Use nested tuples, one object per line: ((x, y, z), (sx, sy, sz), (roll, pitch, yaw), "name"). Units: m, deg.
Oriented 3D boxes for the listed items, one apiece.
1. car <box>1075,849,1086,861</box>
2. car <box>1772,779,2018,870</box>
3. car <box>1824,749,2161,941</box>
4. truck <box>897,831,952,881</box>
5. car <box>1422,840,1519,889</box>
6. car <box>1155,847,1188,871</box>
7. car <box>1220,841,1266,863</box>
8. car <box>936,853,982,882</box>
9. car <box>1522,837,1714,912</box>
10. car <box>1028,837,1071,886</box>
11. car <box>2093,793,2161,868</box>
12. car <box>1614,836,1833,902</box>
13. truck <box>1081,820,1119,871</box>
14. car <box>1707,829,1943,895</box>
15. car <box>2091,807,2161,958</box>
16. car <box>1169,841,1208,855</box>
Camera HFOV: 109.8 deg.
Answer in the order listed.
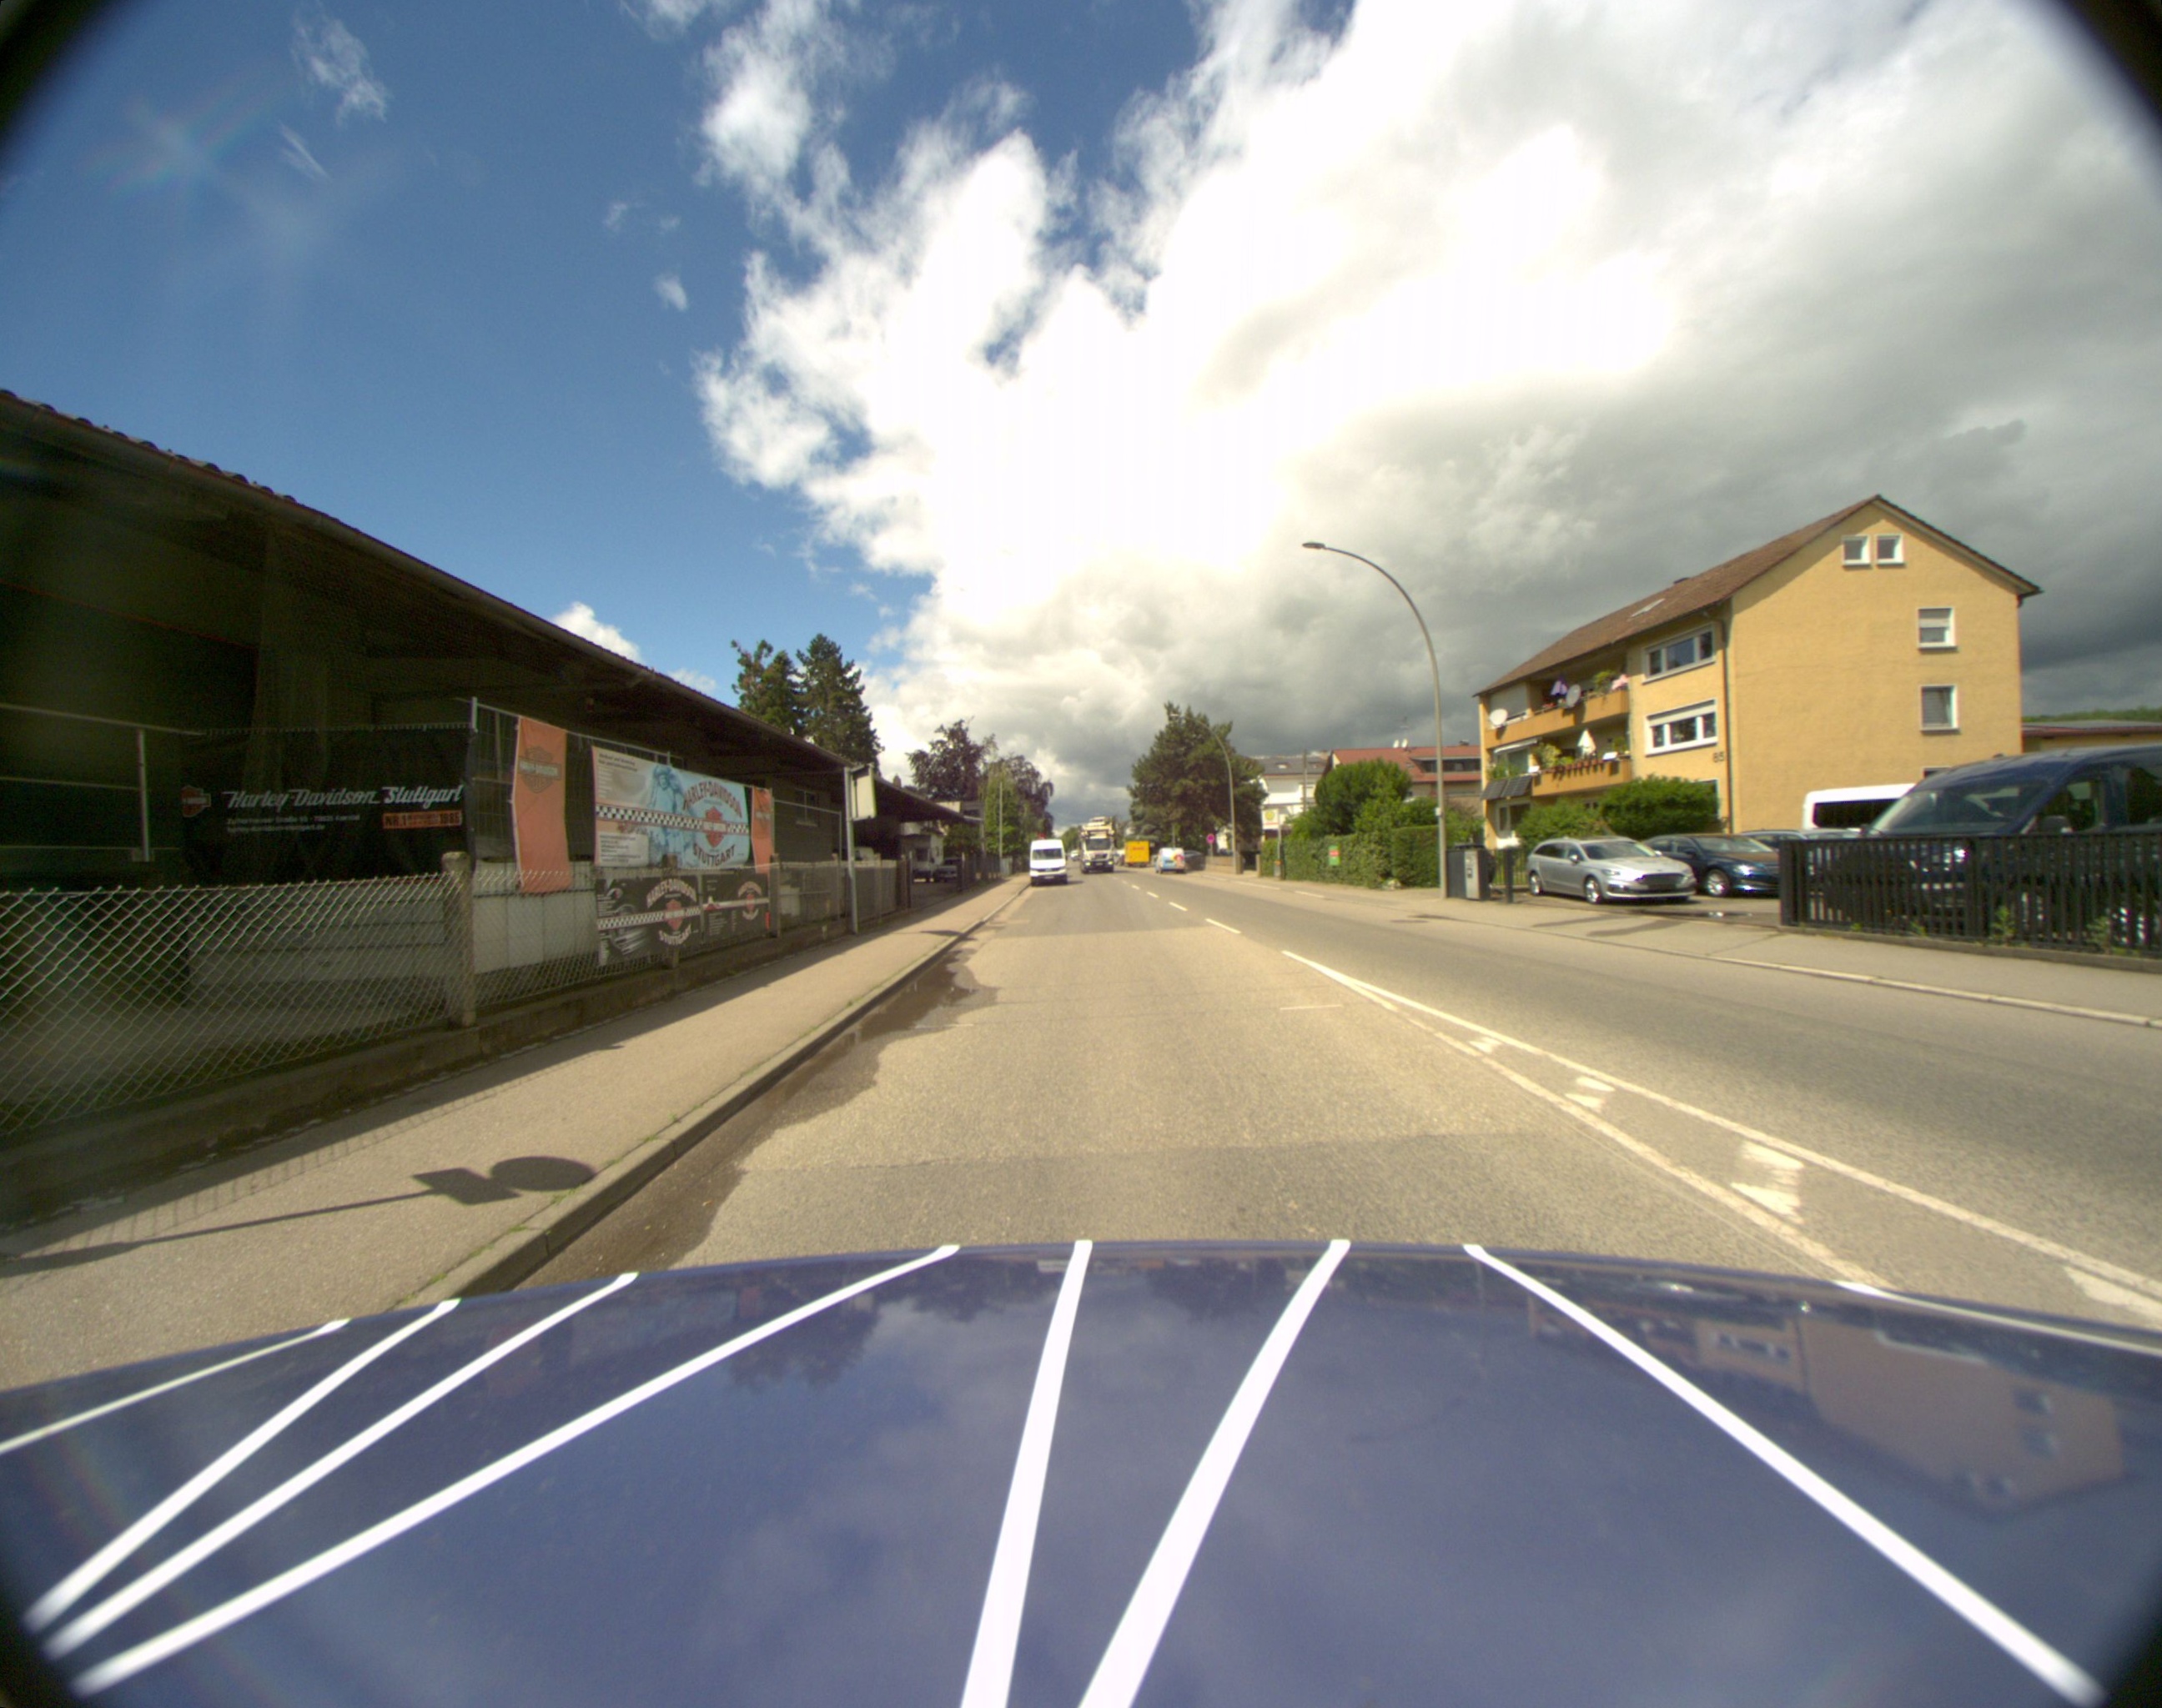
((-0.035, 0.244, 160.916), (2.091, 2.310, 5.202), (-2, 1, 1), "car")
((20.426, -0.688, 19.361), (1.998, 2.002, 3.999), (-2, 1, 1), "car")
((14.218, -0.180, 10.675), (5.363, 2.371, 2.104), (-2, 1, 2), "car")
((-9.479, 0.095, 46.395), (2.091, 2.812, 5.202), (-2, 1, 1), "truck")
((14.623, 0.359, 28.731), (1.831, 1.656, 3.522), (-2, 1, 1), "car")
((6.549, 0.329, 55.179), (1.730, 1.671, 3.999), (-2, 1, -2), "car")
((15.289, -0.151, 71.845), (2.003, 2.002, 3.990), (-3, 1, -32), "car")
((-7.144, 0.726, 44.832), (1.863, 1.521, 5.202), (-2, 1, 0), "car")
((12.334, 0.395, 17.851), (1.887, 1.450, 4.352), (-3, 1, 8), "car")
((-1.708, 0.366, 43.188), (2.091, 2.519, 5.202), (-2, 1, 1), "car")
((28.707, -0.625, 18.817), (1.998, 1.915, 3.999), (-2, 1, 1), "car")
((15.098, 0.301, 18.199), (1.885, 1.334, 3.999), (-2, 1, 1), "car")
((1.501, -0.684, 62.351), (2.664, 3.789, 9.814), (-2, 1, 1), "truck")
((17.906, 0.147, 18.611), (1.883, 1.364, 3.999), (-2, 1, 1), "car")
((12.375, 0.286, 6.823), (1.813, 1.612, 3.621), (-2, 1, 1), "car")
((14.162, -0.751, 99.989), (4.735, 1.669, 2.218), (-2, 1, -1), "car")
